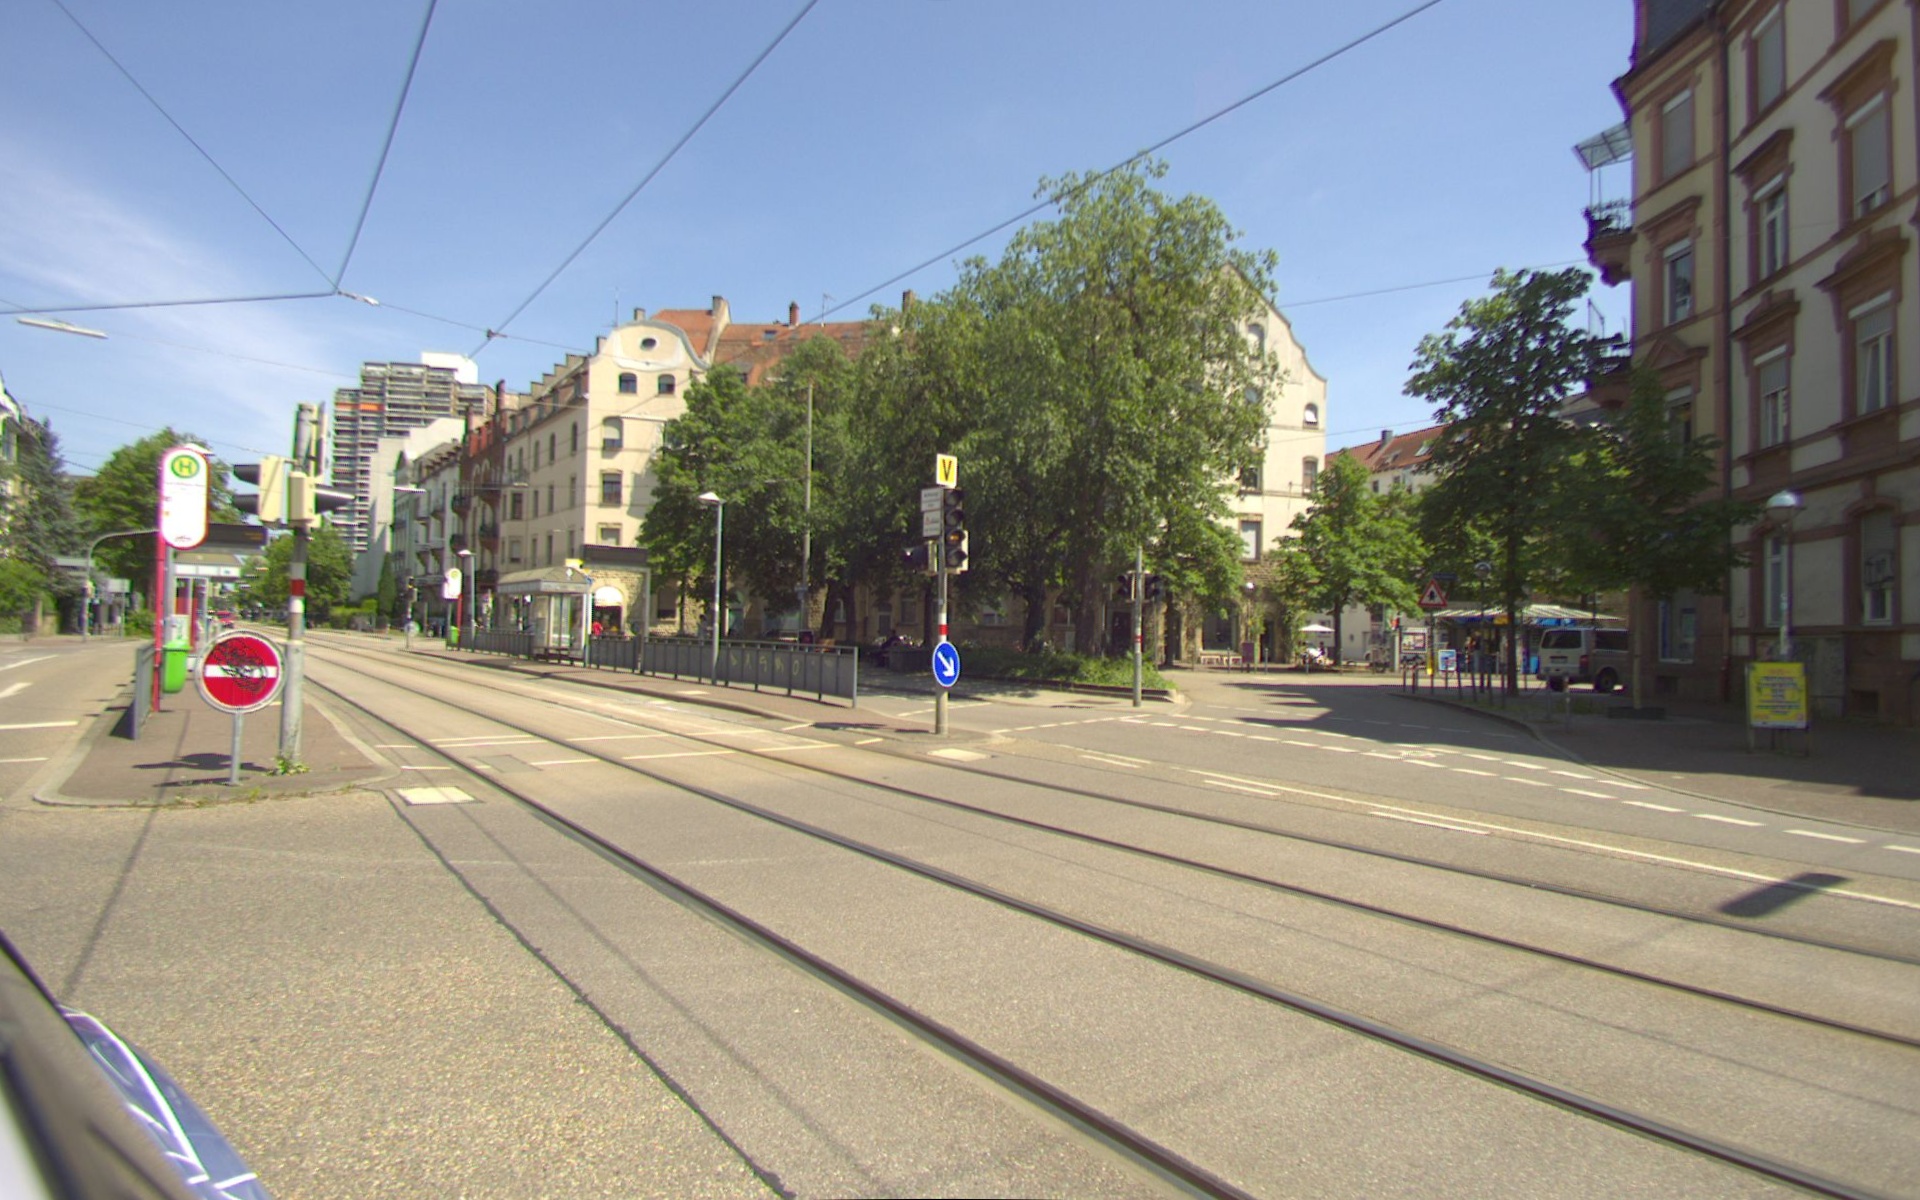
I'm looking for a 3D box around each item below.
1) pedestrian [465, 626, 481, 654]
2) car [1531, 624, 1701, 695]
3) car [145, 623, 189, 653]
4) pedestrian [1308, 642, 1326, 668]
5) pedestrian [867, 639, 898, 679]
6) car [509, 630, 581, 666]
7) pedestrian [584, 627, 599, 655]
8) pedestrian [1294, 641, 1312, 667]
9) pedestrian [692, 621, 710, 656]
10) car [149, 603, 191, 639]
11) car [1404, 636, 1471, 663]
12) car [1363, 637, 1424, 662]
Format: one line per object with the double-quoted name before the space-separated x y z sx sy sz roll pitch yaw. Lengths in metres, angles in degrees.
"pedestrian" -29.818 2.454 61.988 0.796 1.733 0.765 2 -2 -22
"car" 20.251 1.820 31.272 4.510 2.082 2.006 1 -2 -18
"car" -42.535 2.013 54.235 1.710 1.564 4.432 3 -3 -39
"pedestrian" 19.220 2.959 54.433 0.690 1.360 0.605 2 -3 -26
"pedestrian" -2.638 2.005 34.375 0.809 1.327 0.654 2 -2 -31
"car" -16.591 1.893 40.362 1.671 1.320 3.856 2 -2 -38
"pedestrian" -19.609 2.196 53.896 0.521 1.452 0.529 -1 -3 43
"pedestrian" 18.155 2.835 53.516 0.594 1.360 0.703 3 -3 -44
"pedestrian" -11.034 1.631 43.119 0.521 1.452 0.529 -1 -3 43
"car" -57.116 1.487 73.155 2.202 2.511 5.277 3 -2 -39
"car" 32.276 3.306 68.510 1.780 1.711 4.012 1 -2 -18
"car" 31.135 3.565 72.818 1.780 1.711 4.012 1 -2 -18
